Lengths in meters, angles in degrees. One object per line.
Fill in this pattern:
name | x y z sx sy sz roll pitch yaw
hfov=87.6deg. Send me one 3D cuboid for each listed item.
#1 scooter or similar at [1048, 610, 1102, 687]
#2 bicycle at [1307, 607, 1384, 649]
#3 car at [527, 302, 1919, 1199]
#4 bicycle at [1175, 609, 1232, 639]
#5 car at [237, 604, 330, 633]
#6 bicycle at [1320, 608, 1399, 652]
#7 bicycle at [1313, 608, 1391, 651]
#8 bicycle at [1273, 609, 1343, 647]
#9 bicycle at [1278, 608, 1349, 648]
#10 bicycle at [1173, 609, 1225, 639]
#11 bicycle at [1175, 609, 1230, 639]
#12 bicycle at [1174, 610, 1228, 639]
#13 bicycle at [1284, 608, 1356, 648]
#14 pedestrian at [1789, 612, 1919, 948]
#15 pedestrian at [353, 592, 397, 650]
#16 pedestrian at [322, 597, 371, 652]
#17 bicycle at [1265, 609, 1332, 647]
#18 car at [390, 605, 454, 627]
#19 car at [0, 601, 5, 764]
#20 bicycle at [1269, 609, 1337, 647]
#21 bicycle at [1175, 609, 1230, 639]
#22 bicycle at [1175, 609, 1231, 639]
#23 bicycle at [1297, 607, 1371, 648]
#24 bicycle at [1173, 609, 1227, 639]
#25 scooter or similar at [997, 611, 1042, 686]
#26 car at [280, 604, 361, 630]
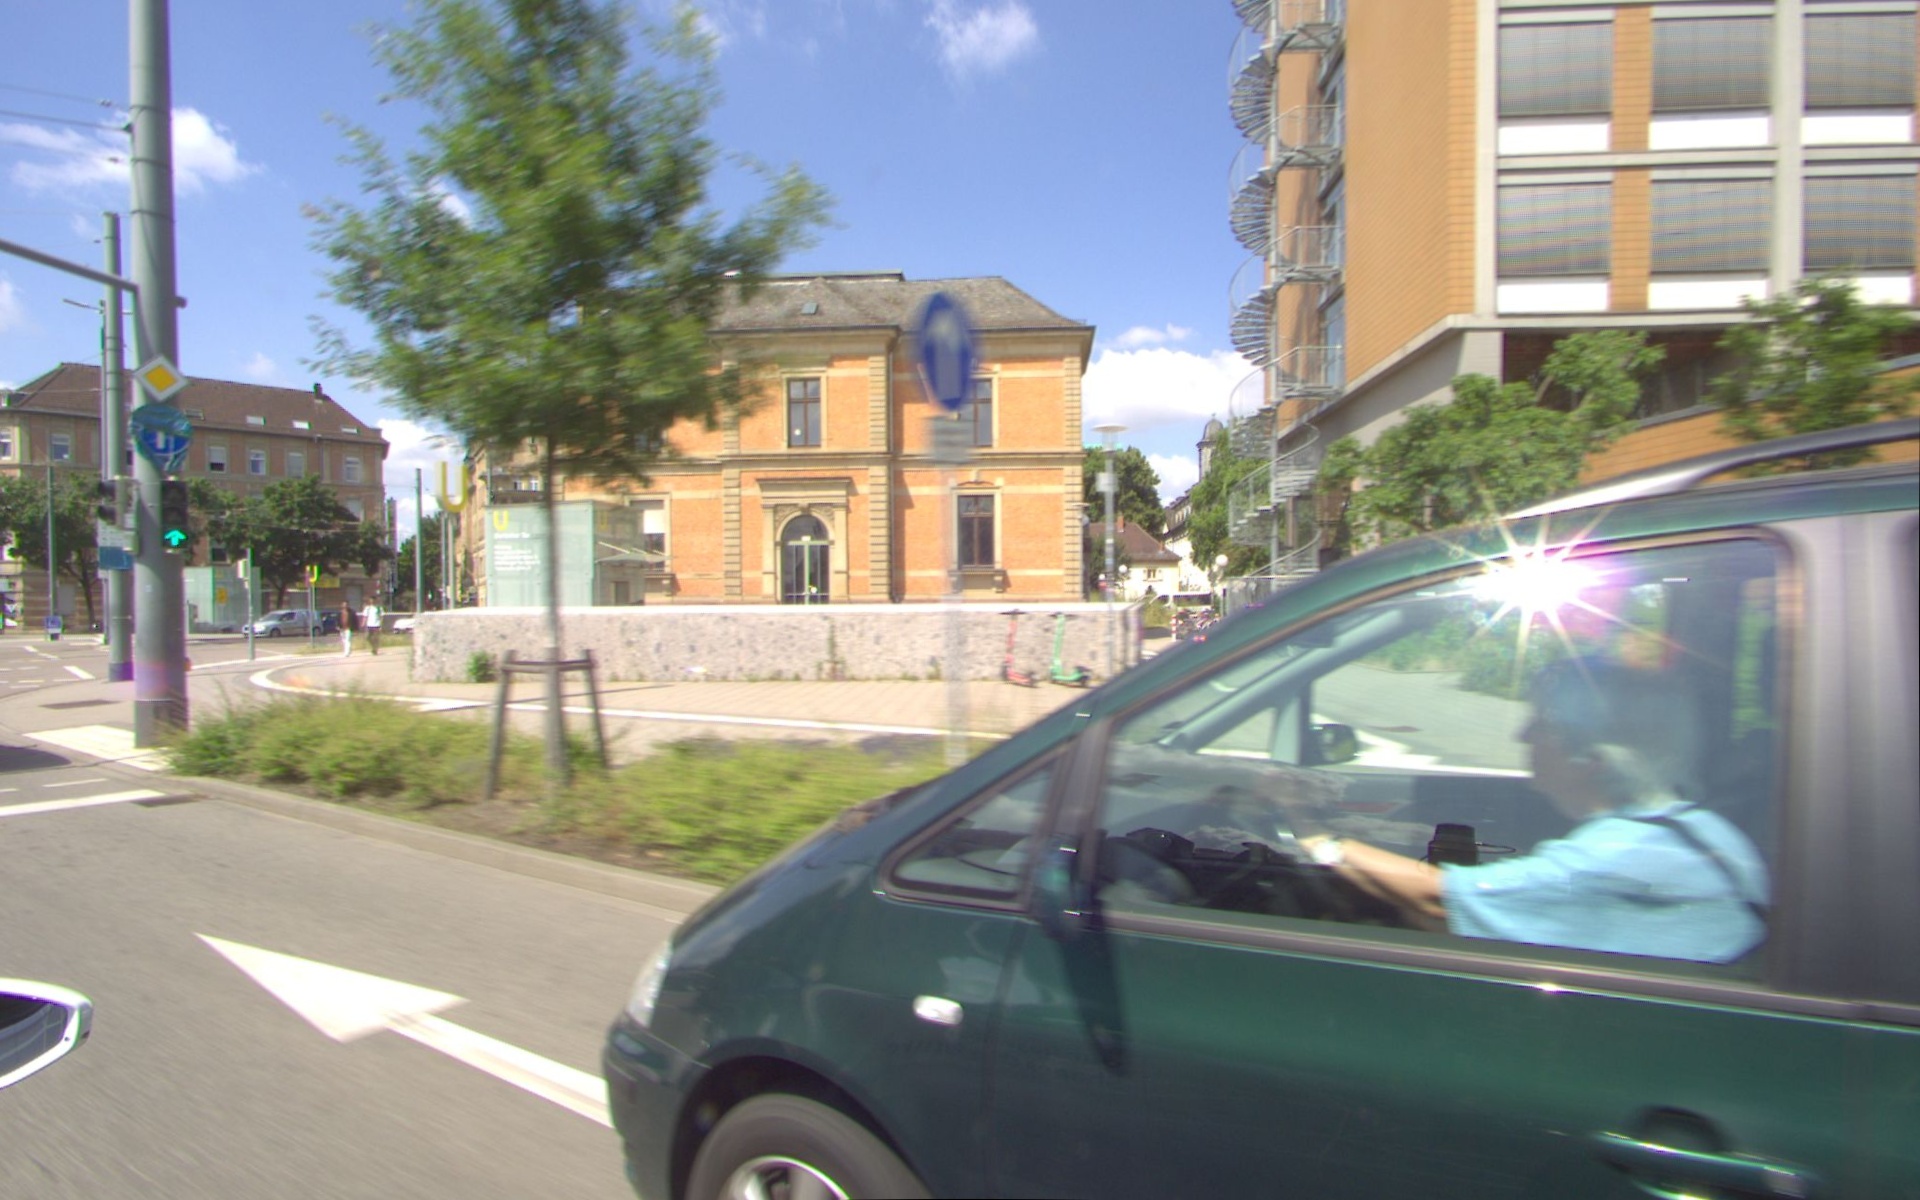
scooter or similar | 1.807 0.747 15.880 0.227 1.139 1.448 0 1 -20
bicycle | 10.136 0.740 26.344 1.846 1.048 0.374 -2 -1 -2
car | 1.424 0.616 1.721 4.383 1.744 1.792 -1 -3 32
bicycle | 8.595 0.846 35.328 1.920 1.048 0.374 -1 -1 11
car | -36.753 0.989 54.525 1.691 1.493 4.136 0 0 12
bicycle | 10.171 0.759 25.507 1.846 1.048 0.374 -2 -1 -2
bicycle | 10.152 0.770 25.925 1.846 1.048 0.374 -2 -1 -2
bicycle | 10.032 0.809 28.868 1.846 1.048 0.374 -2 -1 -2
bicycle | 10.039 0.793 28.444 1.846 1.048 0.374 -2 -1 -2
bicycle | 9.079 0.918 38.085 1.920 1.090 0.374 -1 -1 11
bicycle | 8.778 0.878 36.281 1.920 1.048 0.374 -1 -1 11
bicycle | 8.927 0.903 37.172 1.920 1.058 0.374 -1 -1 11
bicycle | 10.048 0.777 27.979 1.846 1.048 0.396 -2 -1 -2
pedestrian | 4.809 0.871 5.116 0.750 1.610 0.754 -1 -1 32
pedestrian | -18.389 0.647 31.507 0.847 1.775 0.757 -2 2 -1
pedestrian | -19.257 0.761 31.434 0.847 1.680 0.966 -2 1 -1
bicycle | 10.054 0.840 29.744 1.846 1.048 0.374 -2 -1 -2
car | -37.449 1.091 69.801 1.691 1.493 4.136 0 0 12
car | -11.964 0.840 10.689 4.177 1.663 1.875 0 0 36
bicycle | 10.030 0.824 29.311 1.846 1.048 0.374 -2 -1 -2
bicycle | 8.860 0.886 36.680 1.920 1.058 0.374 -1 -1 11
bicycle | 8.670 0.860 35.743 1.920 1.048 0.374 -1 -1 11
bicycle | 10.086 0.743 27.034 1.846 1.048 0.374 -2 -1 -2
bicycle | 8.994 0.901 37.583 1.920 1.090 0.374 -1 -1 11
scooter or similar | 0.952 0.763 16.187 0.227 1.139 1.279 0 1 -20
car | -38.618 0.998 60.564 1.691 1.493 4.136 0 0 12
